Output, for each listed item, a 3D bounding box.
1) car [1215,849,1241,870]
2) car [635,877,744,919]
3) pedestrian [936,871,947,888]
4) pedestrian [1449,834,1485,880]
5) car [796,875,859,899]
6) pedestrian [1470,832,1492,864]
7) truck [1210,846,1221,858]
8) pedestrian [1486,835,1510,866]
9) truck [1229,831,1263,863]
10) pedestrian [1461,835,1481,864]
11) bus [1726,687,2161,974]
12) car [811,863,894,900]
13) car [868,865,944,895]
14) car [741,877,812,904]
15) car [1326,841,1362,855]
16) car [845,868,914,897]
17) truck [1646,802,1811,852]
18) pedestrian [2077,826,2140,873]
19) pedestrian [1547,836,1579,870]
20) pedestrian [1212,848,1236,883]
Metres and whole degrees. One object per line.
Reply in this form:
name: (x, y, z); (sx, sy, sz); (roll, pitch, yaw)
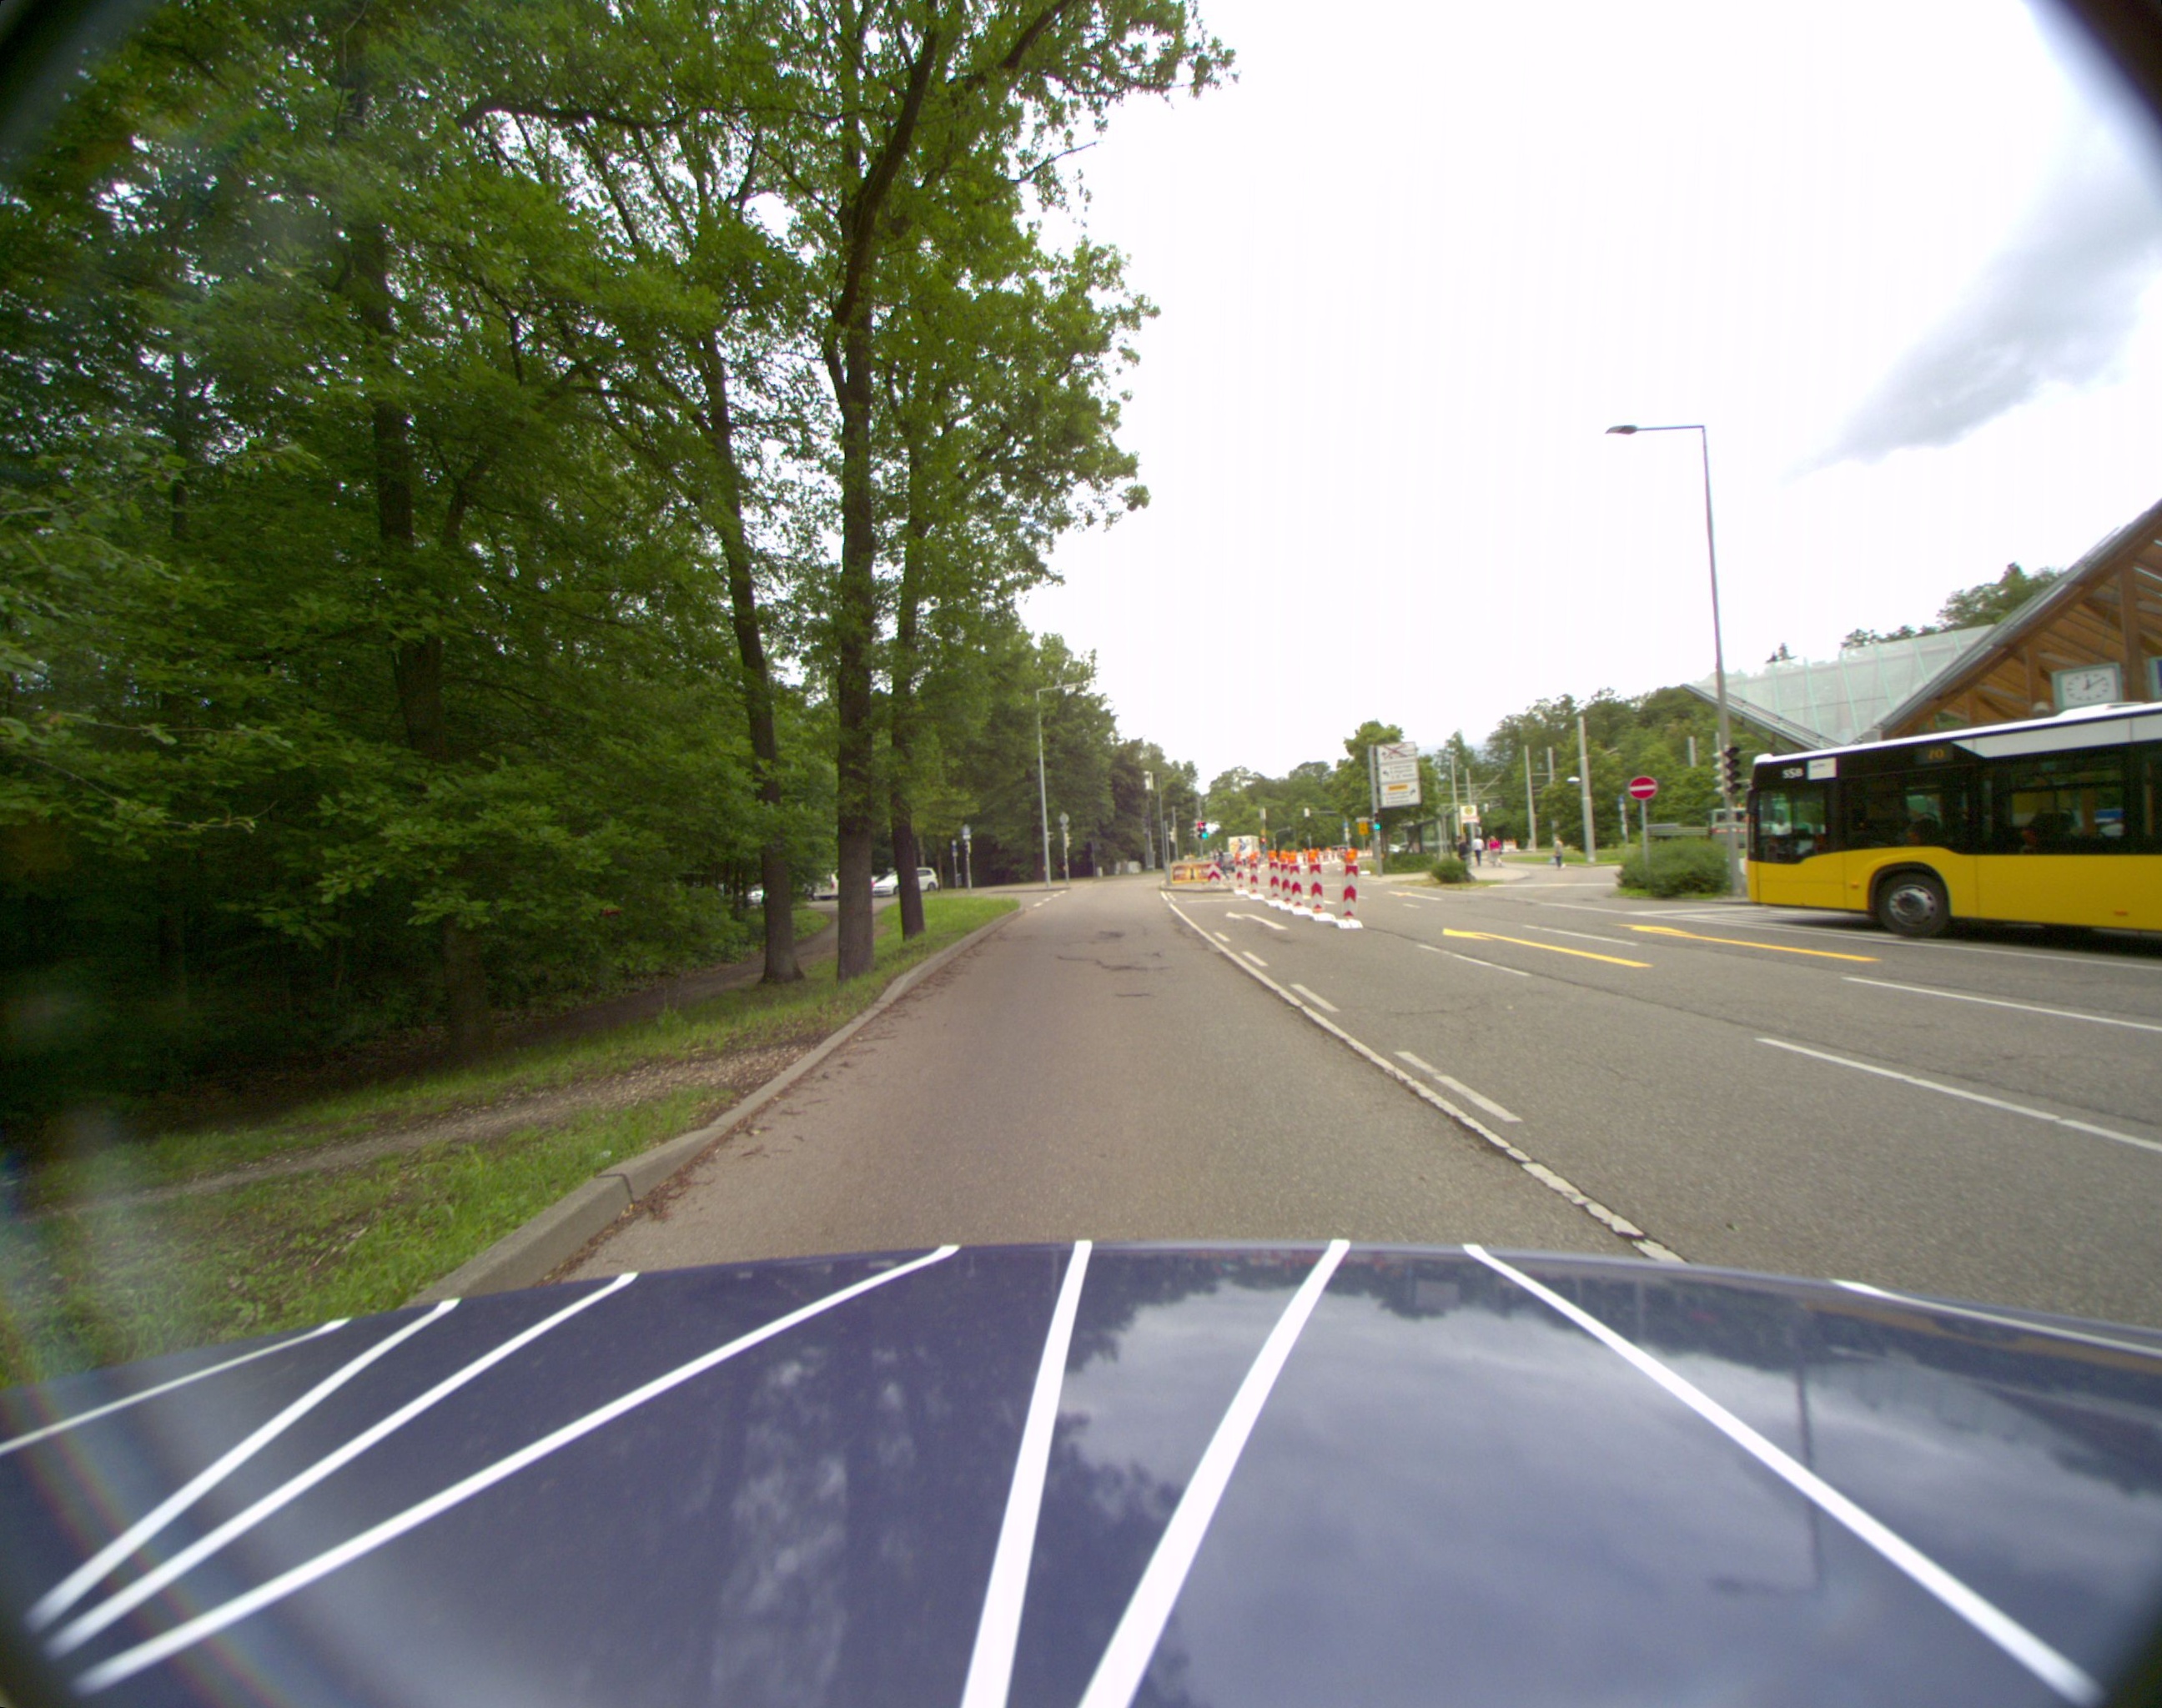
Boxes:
car: (11.401, 0.386, 59.211); (1.811, 1.500, 4.310); (-2, 1, 9)
car: (-21.640, 2.398, 42.212); (1.995, 1.867, 4.958); (-5, -1, 29)
pedestrian: (-13.728, 2.488, 74.955); (0.833, 1.641, 1.035); (-4, 0, -3)
pedestrian: (15.933, 0.122, 31.357); (0.767, 1.798, 0.992); (-4, 0, -42)
car: (-17.510, 2.260, 52.677); (1.717, 1.320, 3.942); (-5, -1, 28)
pedestrian: (21.865, -0.318, 41.505); (0.685, 1.655, 0.871); (-4, 0, 8)
truck: (38.834, -0.599, 219.610); (2.745, 3.192, 6.677); (-5, -1, 7)
pedestrian: (21.808, -0.161, 39.738); (0.791, 1.542, 0.776); (-5, 0, 11)
truck: (17.377, -0.748, 79.815); (2.632, 3.219, 6.214); (-2, 0, 19)
pedestrian: (21.938, -0.248, 42.730); (0.775, 1.537, 0.629); (-5, 1, 13)
bus: (13.155, -0.315, 8.826); (2.906, 3.108, 9.759); (-3, 0, 0)
car: (-15.328, 1.782, 51.246); (2.058, 1.946, 5.191); (-5, 1, 30)
car: (-11.073, 1.613, 48.388); (1.995, 1.542, 4.429); (-5, -1, 34)
car: (-21.825, 2.588, 54.623); (1.839, 1.548, 4.540); (-5, -1, 28)
car: (39.137, -0.881, 113.005); (2.003, 1.805, 4.824); (-4, -1, -30)
car: (-13.148, 1.836, 49.704); (1.890, 1.542, 4.007); (-5, -1, 34)
truck: (35.052, -1.379, 41.455); (2.609, 2.157, 6.295); (-4, -1, -18)
pedestrian: (22.762, -0.095, 16.847); (0.556, 0.978, 0.566); (-5, 0, 17)
pedestrian: (22.355, -0.048, 35.260); (0.768, 1.516, 0.875); (-4, 0, -11)
pedestrian: (7.106, 0.548, 37.675); (1.092, 1.666, 0.912); (-3, 1, 12)
